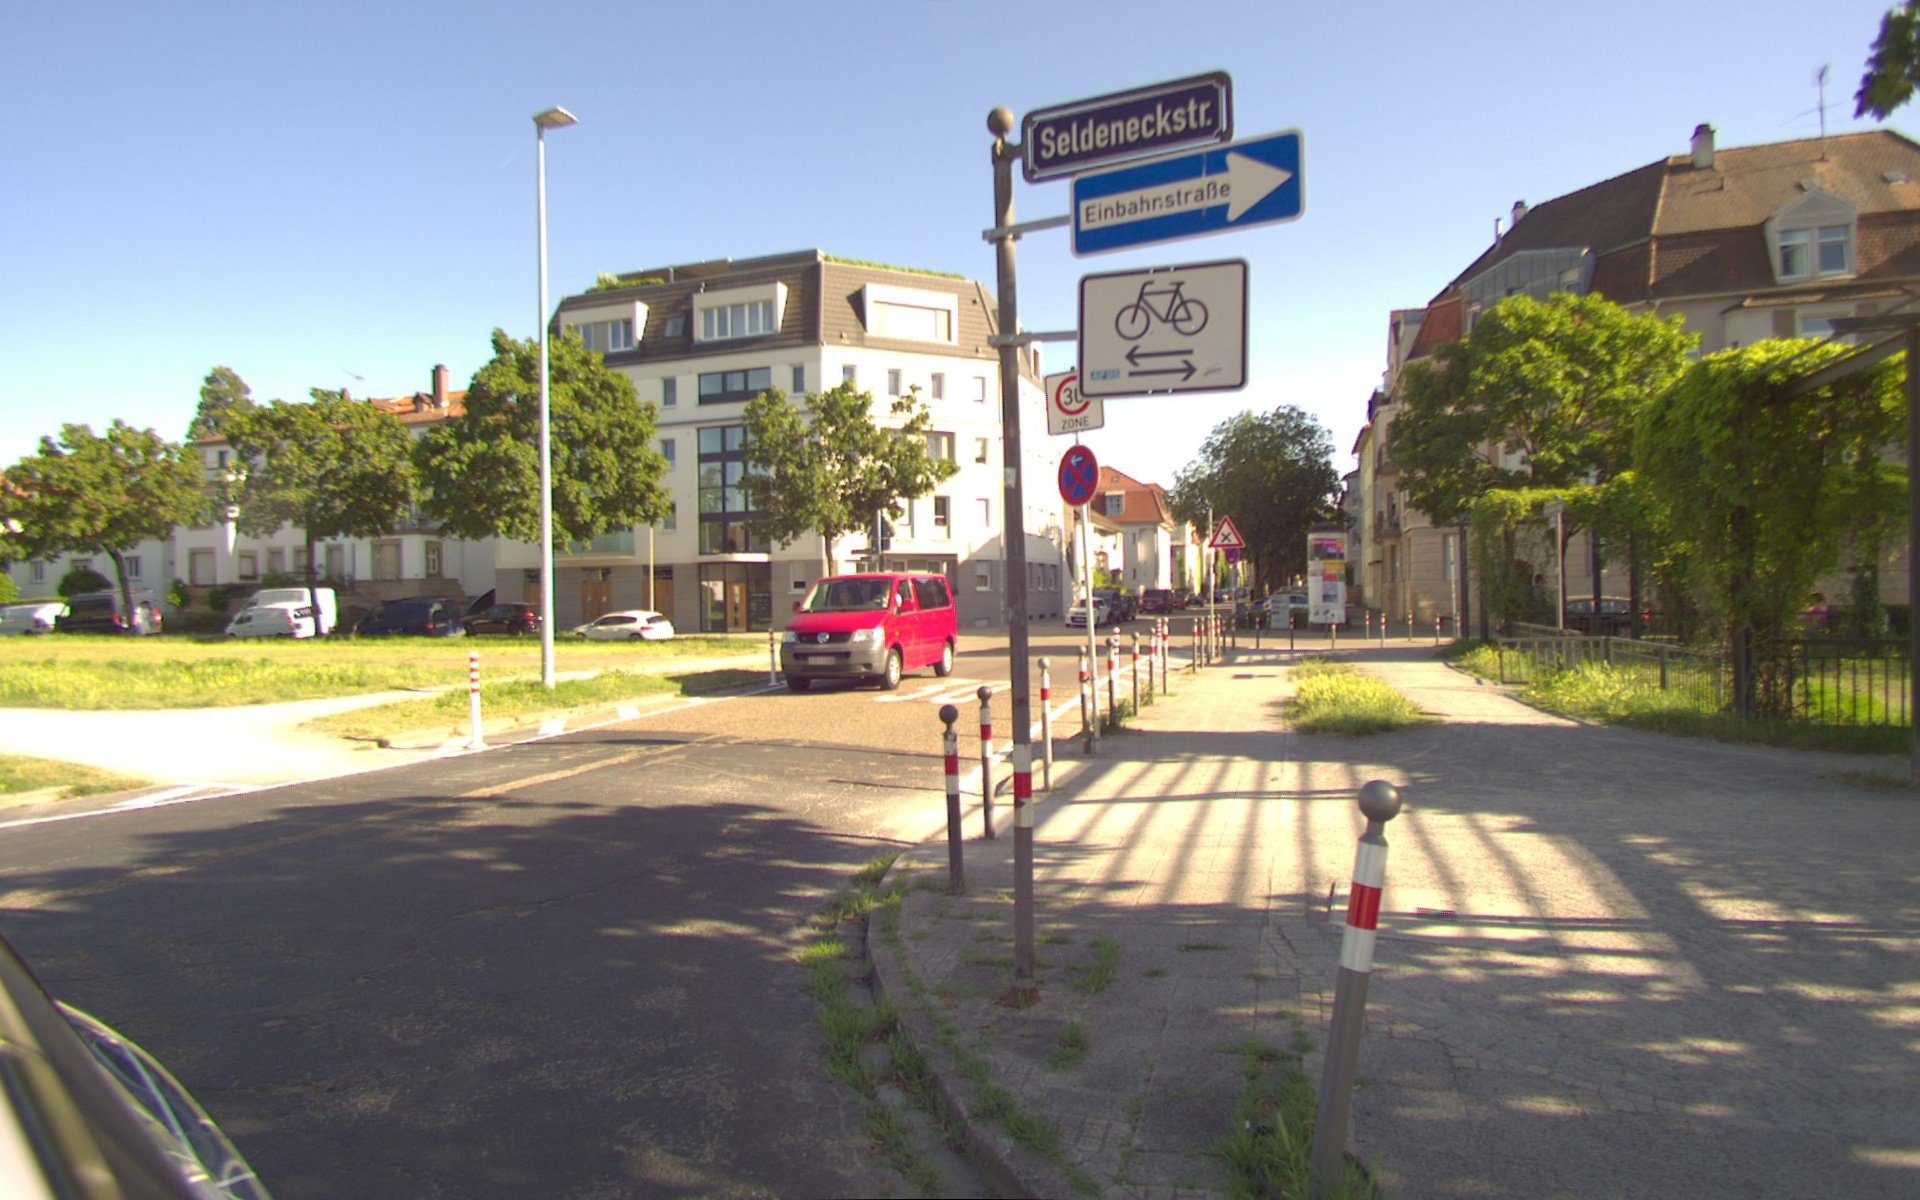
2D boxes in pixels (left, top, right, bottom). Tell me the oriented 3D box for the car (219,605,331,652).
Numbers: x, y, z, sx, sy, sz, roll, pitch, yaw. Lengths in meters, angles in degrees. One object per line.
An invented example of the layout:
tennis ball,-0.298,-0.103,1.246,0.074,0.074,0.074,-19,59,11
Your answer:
car,-30.774,1.273,45.485,4.391,1.897,1.865,-1,4,20

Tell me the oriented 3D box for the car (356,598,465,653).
car,-23.104,1.064,42.544,3.965,2.099,1.773,-1,4,21

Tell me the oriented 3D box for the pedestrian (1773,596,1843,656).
pedestrian,16.508,0.500,19.715,0.868,1.147,0.595,-1,0,21

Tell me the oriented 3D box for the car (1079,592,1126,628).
car,7.738,0.504,54.715,1.653,1.849,4.229,2,1,19

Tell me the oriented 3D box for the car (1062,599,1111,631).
car,6.346,0.708,50.500,1.653,1.459,3.665,2,1,19

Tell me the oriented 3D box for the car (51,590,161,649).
car,-41.643,0.939,49.348,4.257,2.603,2.179,-1,4,21

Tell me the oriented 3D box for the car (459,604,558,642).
car,-21.612,1.102,48.440,4.258,1.695,1.883,-1,1,21

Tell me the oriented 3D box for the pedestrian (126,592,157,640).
pedestrian,-32.405,0.626,40.063,0.624,1.891,0.720,-1,-1,18

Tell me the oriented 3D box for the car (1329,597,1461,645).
car,14.971,0.722,35.067,3.980,1.494,1.858,-1,3,17

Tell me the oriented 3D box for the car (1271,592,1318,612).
car,27.548,0.157,83.390,3.497,1.506,1.684,-2,0,15

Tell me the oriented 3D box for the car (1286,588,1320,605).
car,38.556,-0.379,113.831,3.501,1.716,1.682,-2,0,18

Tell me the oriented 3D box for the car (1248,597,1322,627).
car,17.634,0.657,55.075,3.758,1.506,1.683,-2,0,17

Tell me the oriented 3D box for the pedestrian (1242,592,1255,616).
pedestrian,24.730,0.350,86.757,1.015,2.029,1.064,-1,0,18

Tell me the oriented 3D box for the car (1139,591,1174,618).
car,14.622,0.322,75.254,1.871,1.885,4.373,2,1,19

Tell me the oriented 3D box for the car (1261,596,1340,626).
car,17.694,0.558,52.746,3.758,1.455,1.683,-2,0,17

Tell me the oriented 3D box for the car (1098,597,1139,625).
car,9.400,0.604,59.823,1.653,1.553,4.040,2,1,19

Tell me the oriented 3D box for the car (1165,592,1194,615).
car,19.162,0.323,88.312,1.871,1.885,4.373,2,1,19

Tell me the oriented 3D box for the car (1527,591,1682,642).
car,20.898,0.537,32.989,3.870,1.494,1.858,-1,3,17

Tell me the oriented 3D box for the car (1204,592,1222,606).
car,32.019,-0.082,127.933,1.871,1.757,4.373,-1,0,19

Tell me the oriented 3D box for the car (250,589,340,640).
car,-35.099,0.765,53.419,3.965,2.567,2.009,-1,1,21

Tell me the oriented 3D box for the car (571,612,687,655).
car,-12.753,1.274,39.011,3.964,1.443,1.729,-1,4,20

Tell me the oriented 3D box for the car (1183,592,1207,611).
car,23.976,0.144,103.109,1.871,1.885,4.373,-1,0,19

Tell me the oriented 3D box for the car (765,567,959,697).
car,-1.530,0.487,17.947,1.879,1.975,4.863,-1,0,15

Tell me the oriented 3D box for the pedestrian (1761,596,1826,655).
pedestrian,16.748,0.500,20.347,0.840,1.158,0.595,-1,0,21

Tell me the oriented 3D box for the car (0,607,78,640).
car,-47.832,1.189,51.993,4.257,1.611,2.071,-1,0,21

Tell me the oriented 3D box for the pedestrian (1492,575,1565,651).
pedestrian,13.467,0.302,24.001,1.075,1.686,0.913,-4,0,1
